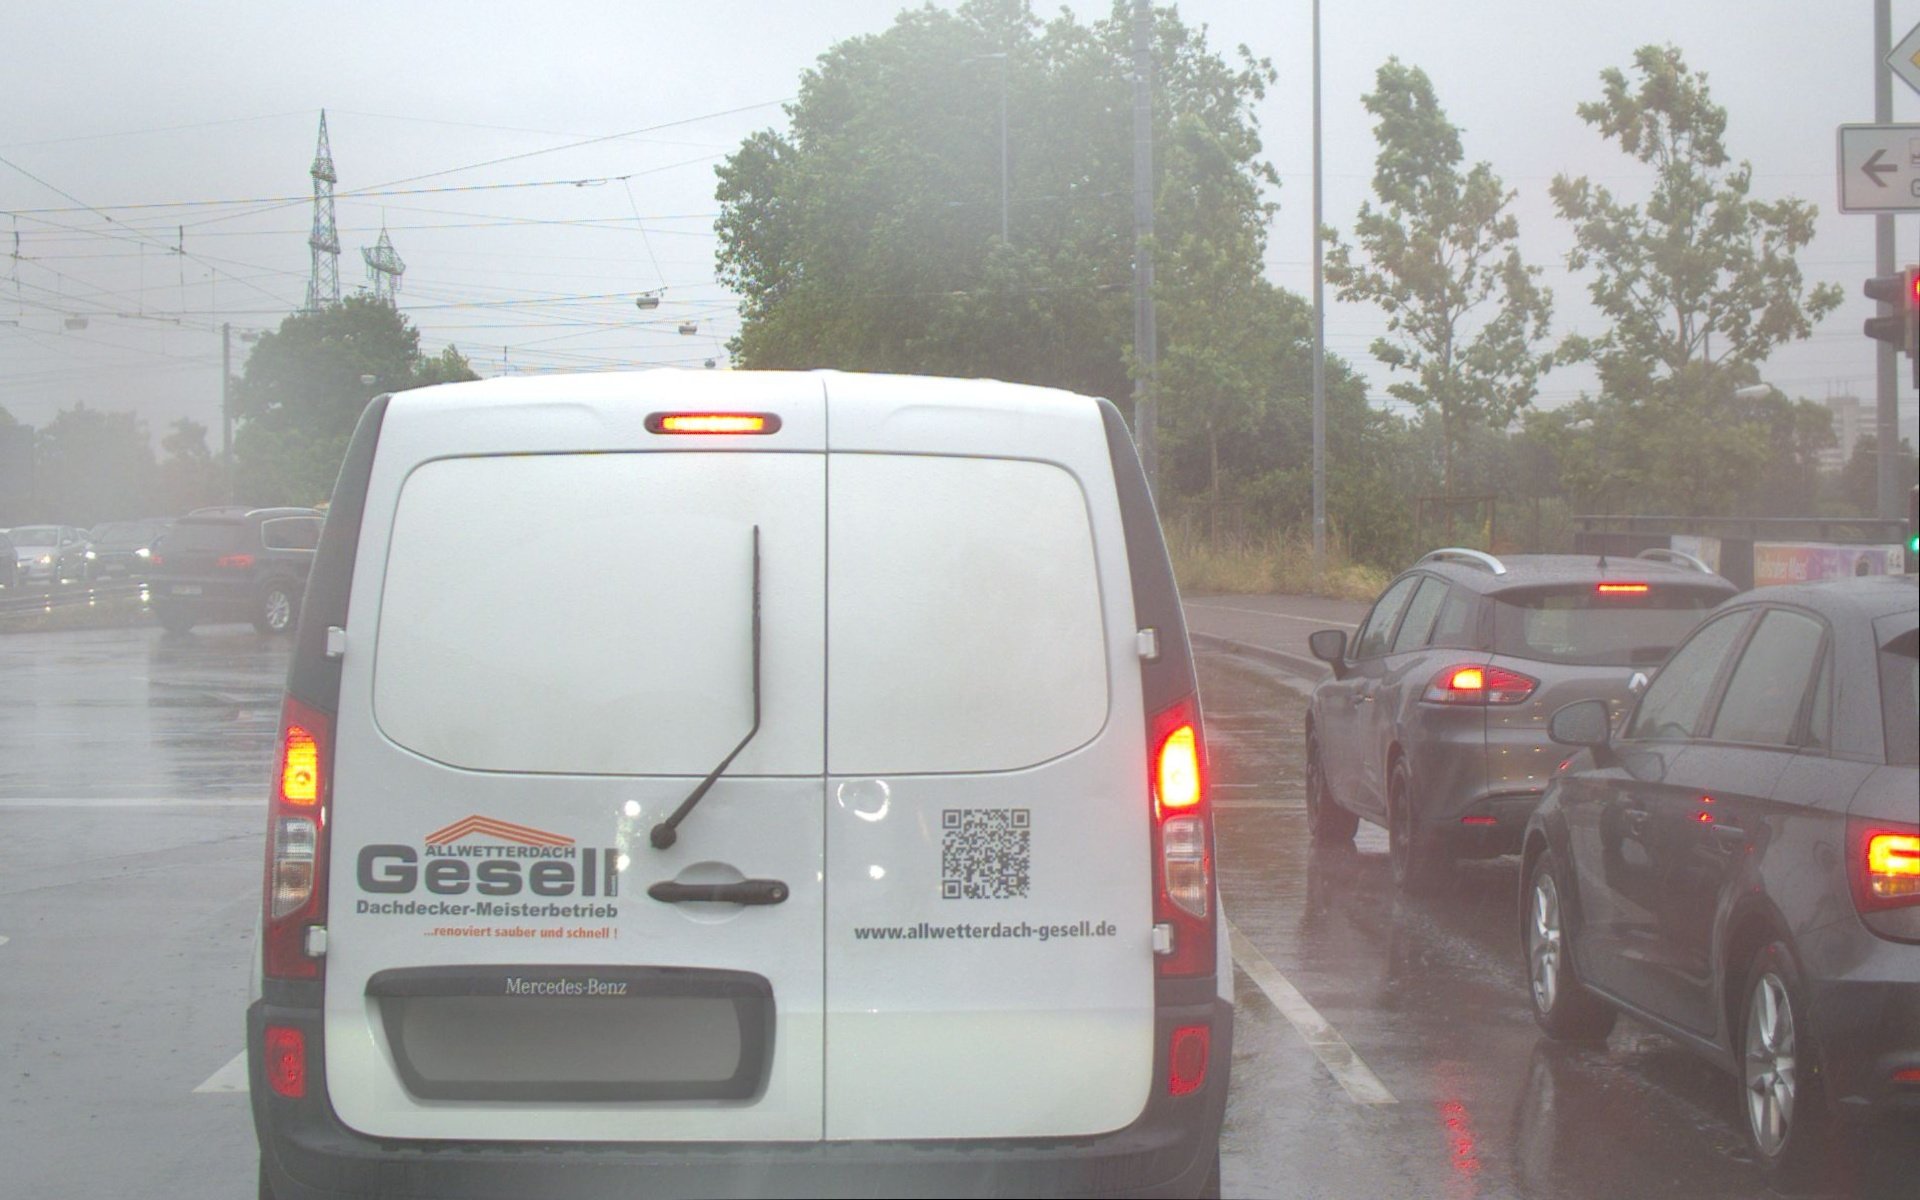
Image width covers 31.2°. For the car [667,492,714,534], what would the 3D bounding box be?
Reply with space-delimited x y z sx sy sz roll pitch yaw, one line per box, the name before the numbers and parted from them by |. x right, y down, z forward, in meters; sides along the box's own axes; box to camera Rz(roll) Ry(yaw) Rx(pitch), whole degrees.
car | -11.798 -3.796 150.548 1.947 1.656 4.465 2 0 -4

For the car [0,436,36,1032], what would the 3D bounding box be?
car | -3.781 0.411 8.177 1.930 1.769 4.664 1 1 -1

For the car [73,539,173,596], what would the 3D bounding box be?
car | -22.183 -0.855 91.189 1.710 1.421 3.809 2 0 -1

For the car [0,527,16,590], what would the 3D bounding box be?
car | -22.523 -0.961 77.413 1.559 1.421 3.569 2 0 -1

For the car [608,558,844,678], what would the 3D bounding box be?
car | -2.968 0.233 44.391 1.532 1.393 3.793 4 1 21

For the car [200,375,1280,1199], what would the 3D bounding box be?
car | -0.503 0.451 7.720 1.754 1.744 4.170 1 2 -4

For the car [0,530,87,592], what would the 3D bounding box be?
car | -22.541 -0.939 83.901 1.559 1.421 3.569 2 0 -1

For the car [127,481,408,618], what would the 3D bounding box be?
car | -9.247 -0.651 46.178 1.704 1.668 3.791 4 1 25

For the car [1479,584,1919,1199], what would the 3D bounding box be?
car | 2.510 0.646 8.940 1.597 1.362 3.631 -1 0 -3

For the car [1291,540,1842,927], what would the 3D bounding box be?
car | 2.591 0.501 15.568 1.684 1.503 3.921 1 1 -1

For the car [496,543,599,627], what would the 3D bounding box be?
car | -7.559 -0.296 63.230 1.645 1.393 3.455 3 1 -4

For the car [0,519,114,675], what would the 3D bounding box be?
car | -10.453 -0.079 33.840 3.731 1.502 1.651 2 1 -34
